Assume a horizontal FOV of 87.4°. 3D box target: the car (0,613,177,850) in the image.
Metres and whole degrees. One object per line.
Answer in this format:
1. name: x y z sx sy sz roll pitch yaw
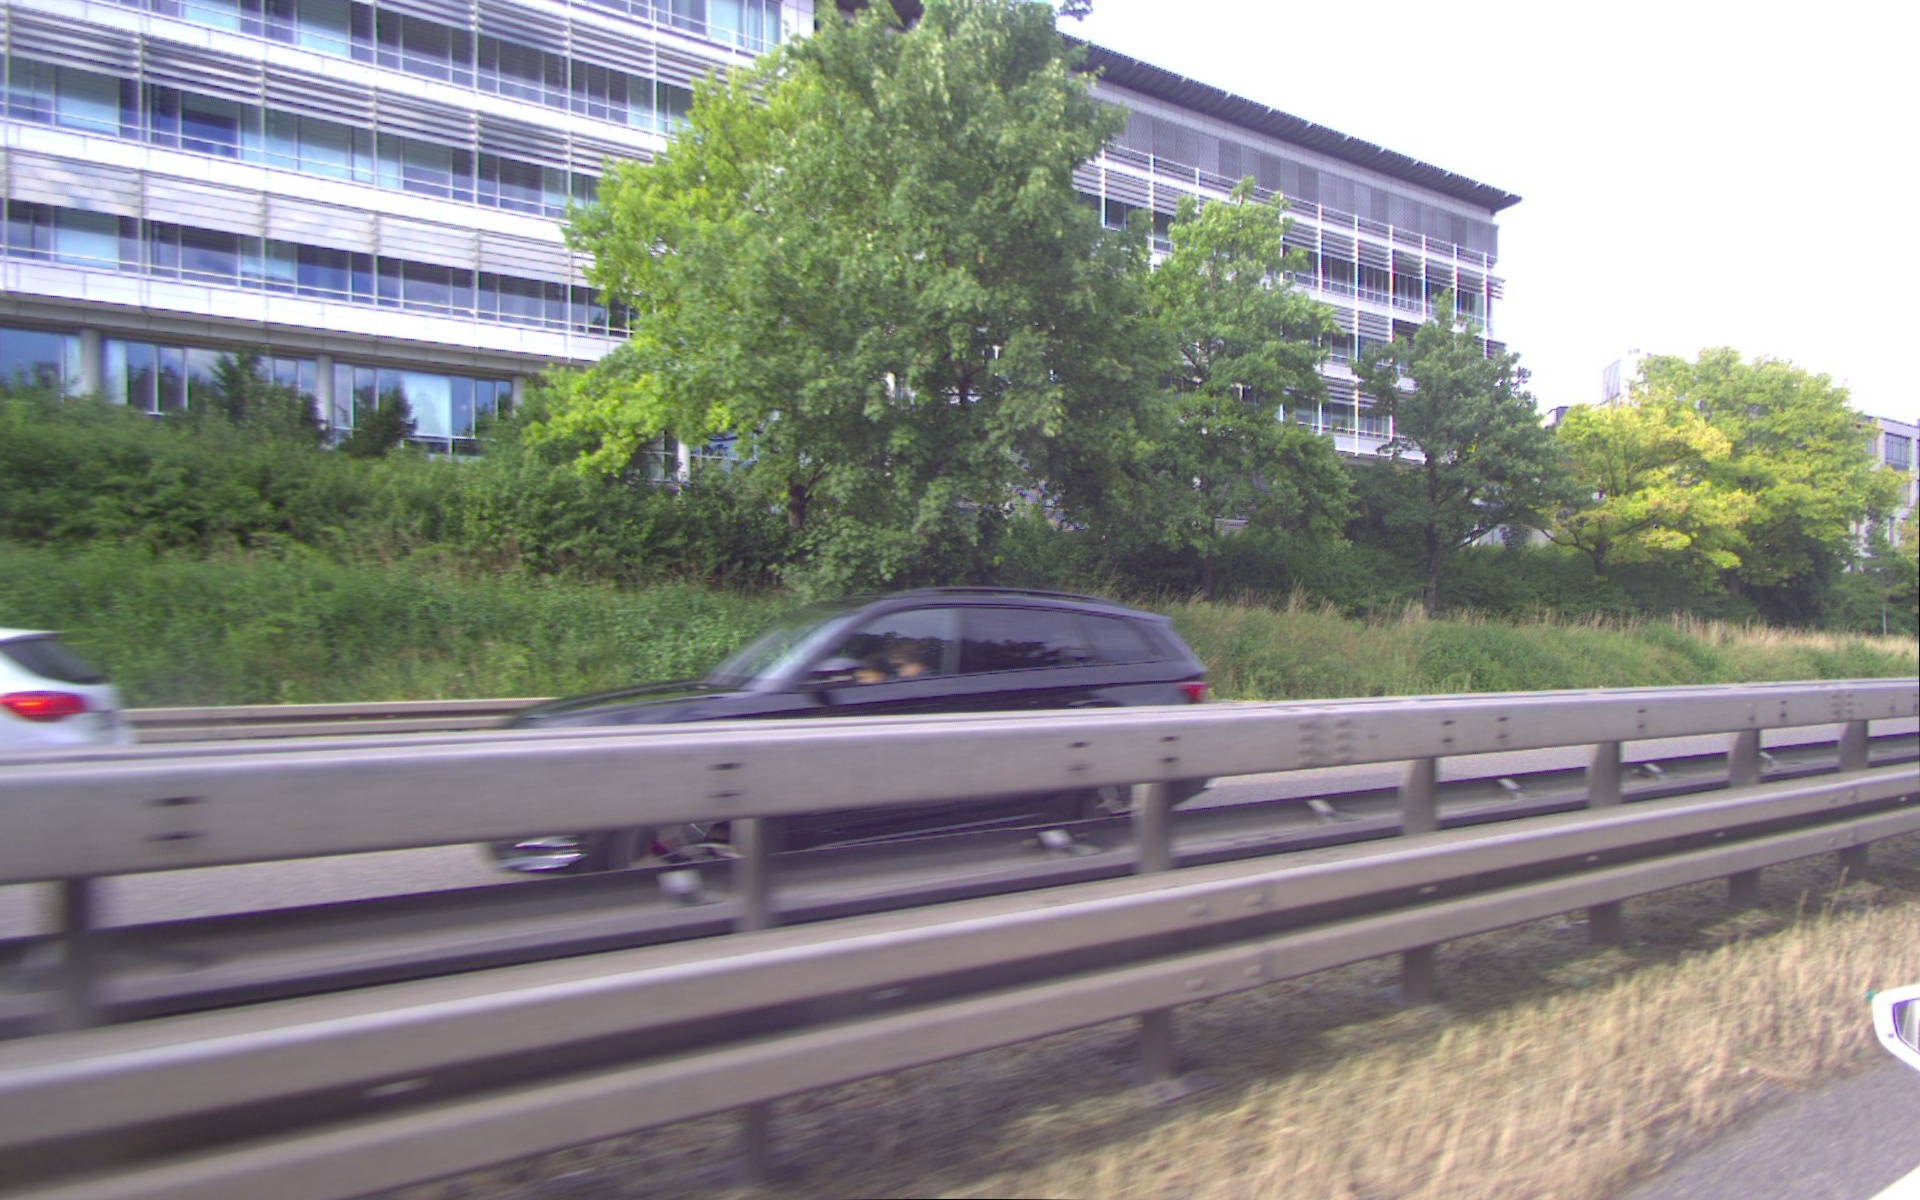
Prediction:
1. car: -7.919 0.851 6.401 4.365 1.504 1.809 1 -3 -30

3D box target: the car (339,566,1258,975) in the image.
1. car: -0.685 0.761 6.170 5.217 1.666 1.735 1 -1 -30
